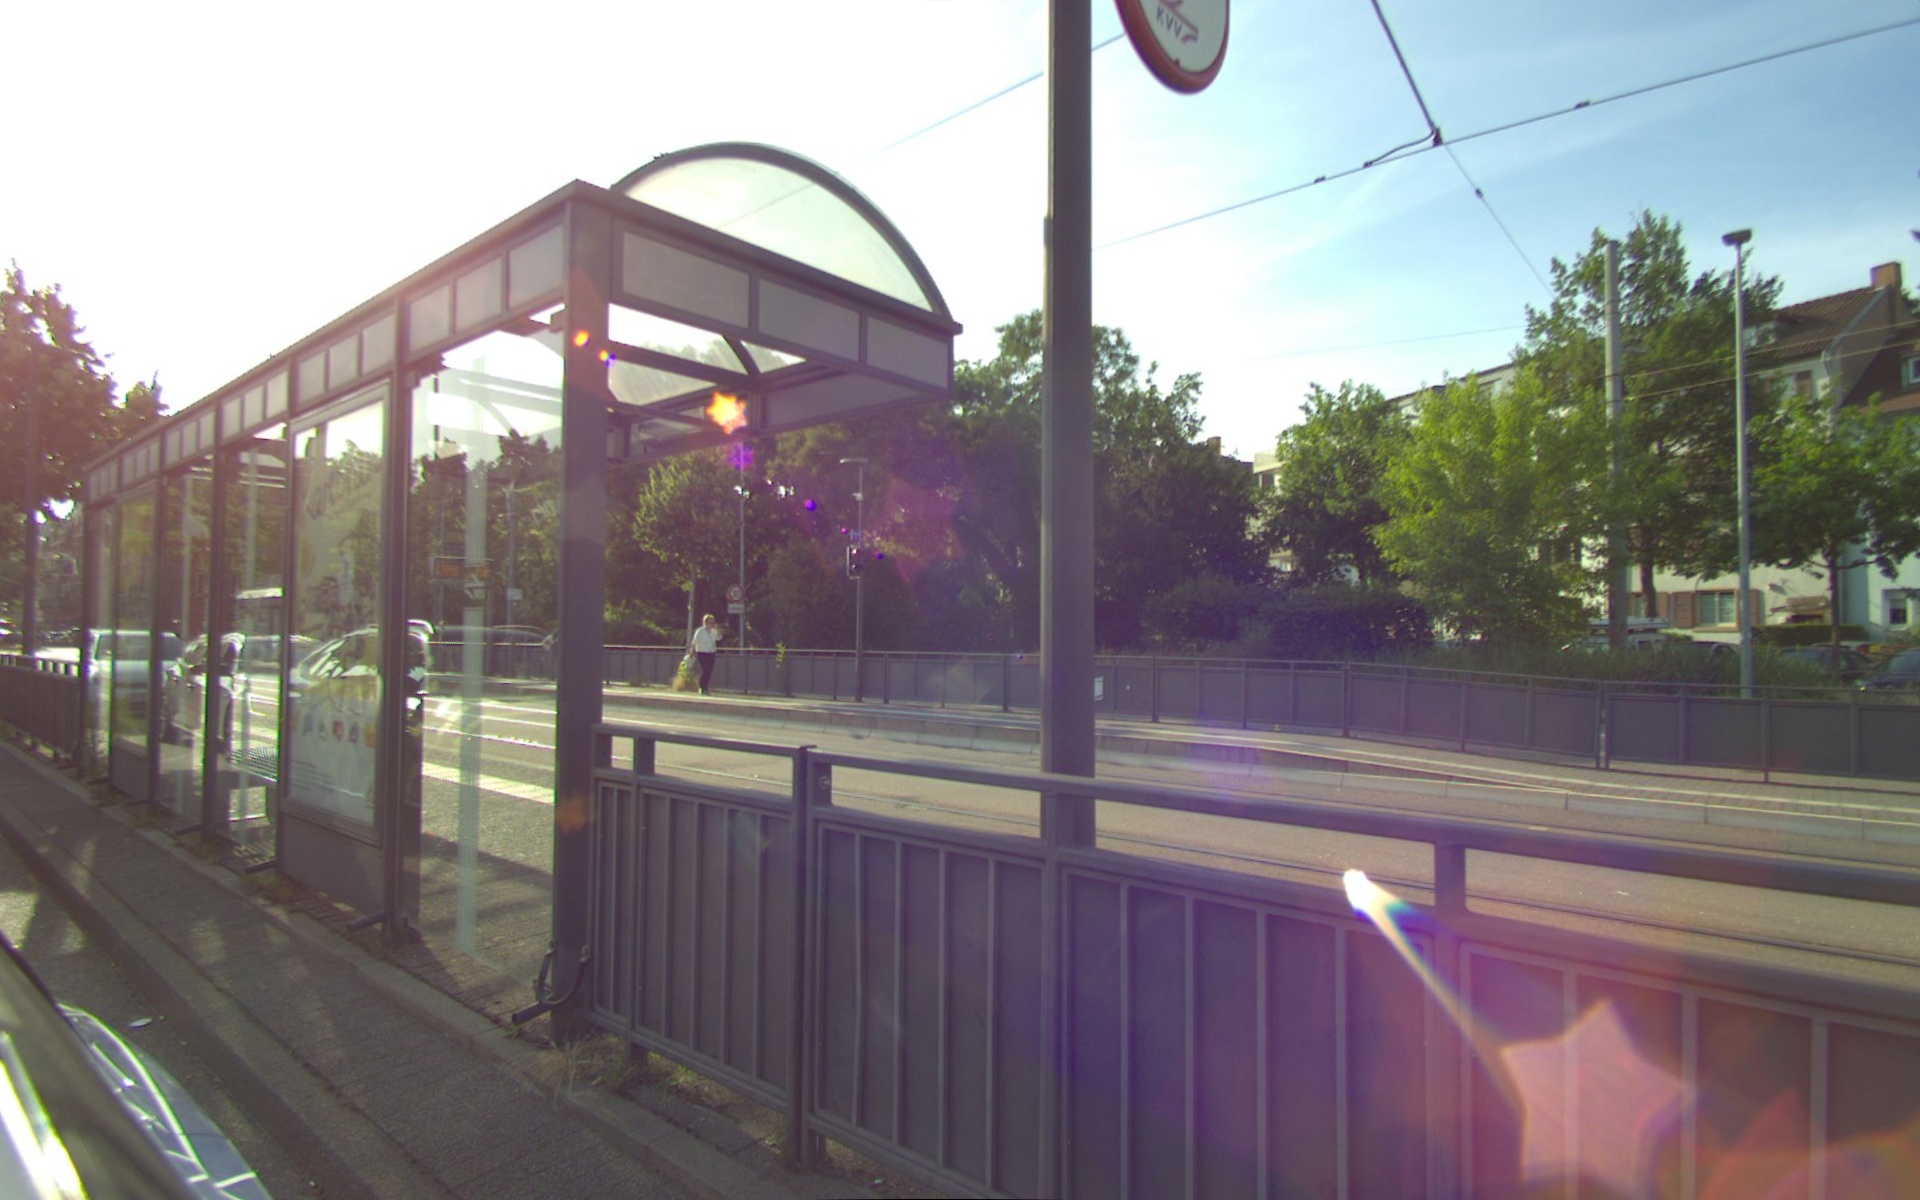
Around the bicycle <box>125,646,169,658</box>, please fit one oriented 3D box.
[{"bbox_3d":[-60.727,3.892,75.646,2.502,0.888,0.631,3,-3,-45],"label":"bicycle"}]

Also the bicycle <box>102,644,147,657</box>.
[{"bbox_3d":[-60.962,3.675,73.853,0.631,0.888,2.502,-2,-3,45],"label":"bicycle"}]

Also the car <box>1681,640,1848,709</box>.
[{"bbox_3d":[18.179,1.622,22.838,3.935,1.409,2.004,2,-3,-37],"label":"car"}]

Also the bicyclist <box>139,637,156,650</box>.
[{"bbox_3d":[-60.737,3.259,75.654,0.884,0.920,0.617,3,-3,-45],"label":"bicyclist"}]

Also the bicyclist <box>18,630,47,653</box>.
[{"bbox_3d":[-65.954,2.945,71.962,0.887,1.559,1.384,-2,-3,39],"label":"bicyclist"}]

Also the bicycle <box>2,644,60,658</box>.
[{"bbox_3d":[-65.970,3.597,71.908,0.878,0.988,2.925,-2,-3,38],"label":"bicycle"}]

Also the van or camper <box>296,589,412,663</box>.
[{"bbox_3d":[-26.308,1.061,43.838,6.408,2.990,2.494,-1,0,41],"label":"van or camper"}]

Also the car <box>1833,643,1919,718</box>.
[{"bbox_3d":[19.631,1.599,20.611,3.935,1.409,2.004,2,-3,-37],"label":"car"}]

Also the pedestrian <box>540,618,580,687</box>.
[{"bbox_3d":[-10.193,1.341,25.801,0.618,1.697,0.613,-2,-6,41],"label":"pedestrian"}]

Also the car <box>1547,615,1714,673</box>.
[{"bbox_3d":[18.185,1.196,27.474,3.930,1.497,1.854,1,-3,-22],"label":"car"}]

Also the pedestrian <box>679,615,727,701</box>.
[{"bbox_3d":[-5.252,1.185,20.669,0.618,1.697,0.613,-2,-6,41],"label":"pedestrian"}]

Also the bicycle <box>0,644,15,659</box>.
[{"bbox_3d":[-64.513,3.424,66.822,0.878,0.988,2.925,-2,-3,38],"label":"bicycle"}]

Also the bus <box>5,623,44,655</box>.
[{"bbox_3d":[-106.527,4.351,115.194,9.258,3.461,2.405,-1,0,41],"label":"bus"}]
